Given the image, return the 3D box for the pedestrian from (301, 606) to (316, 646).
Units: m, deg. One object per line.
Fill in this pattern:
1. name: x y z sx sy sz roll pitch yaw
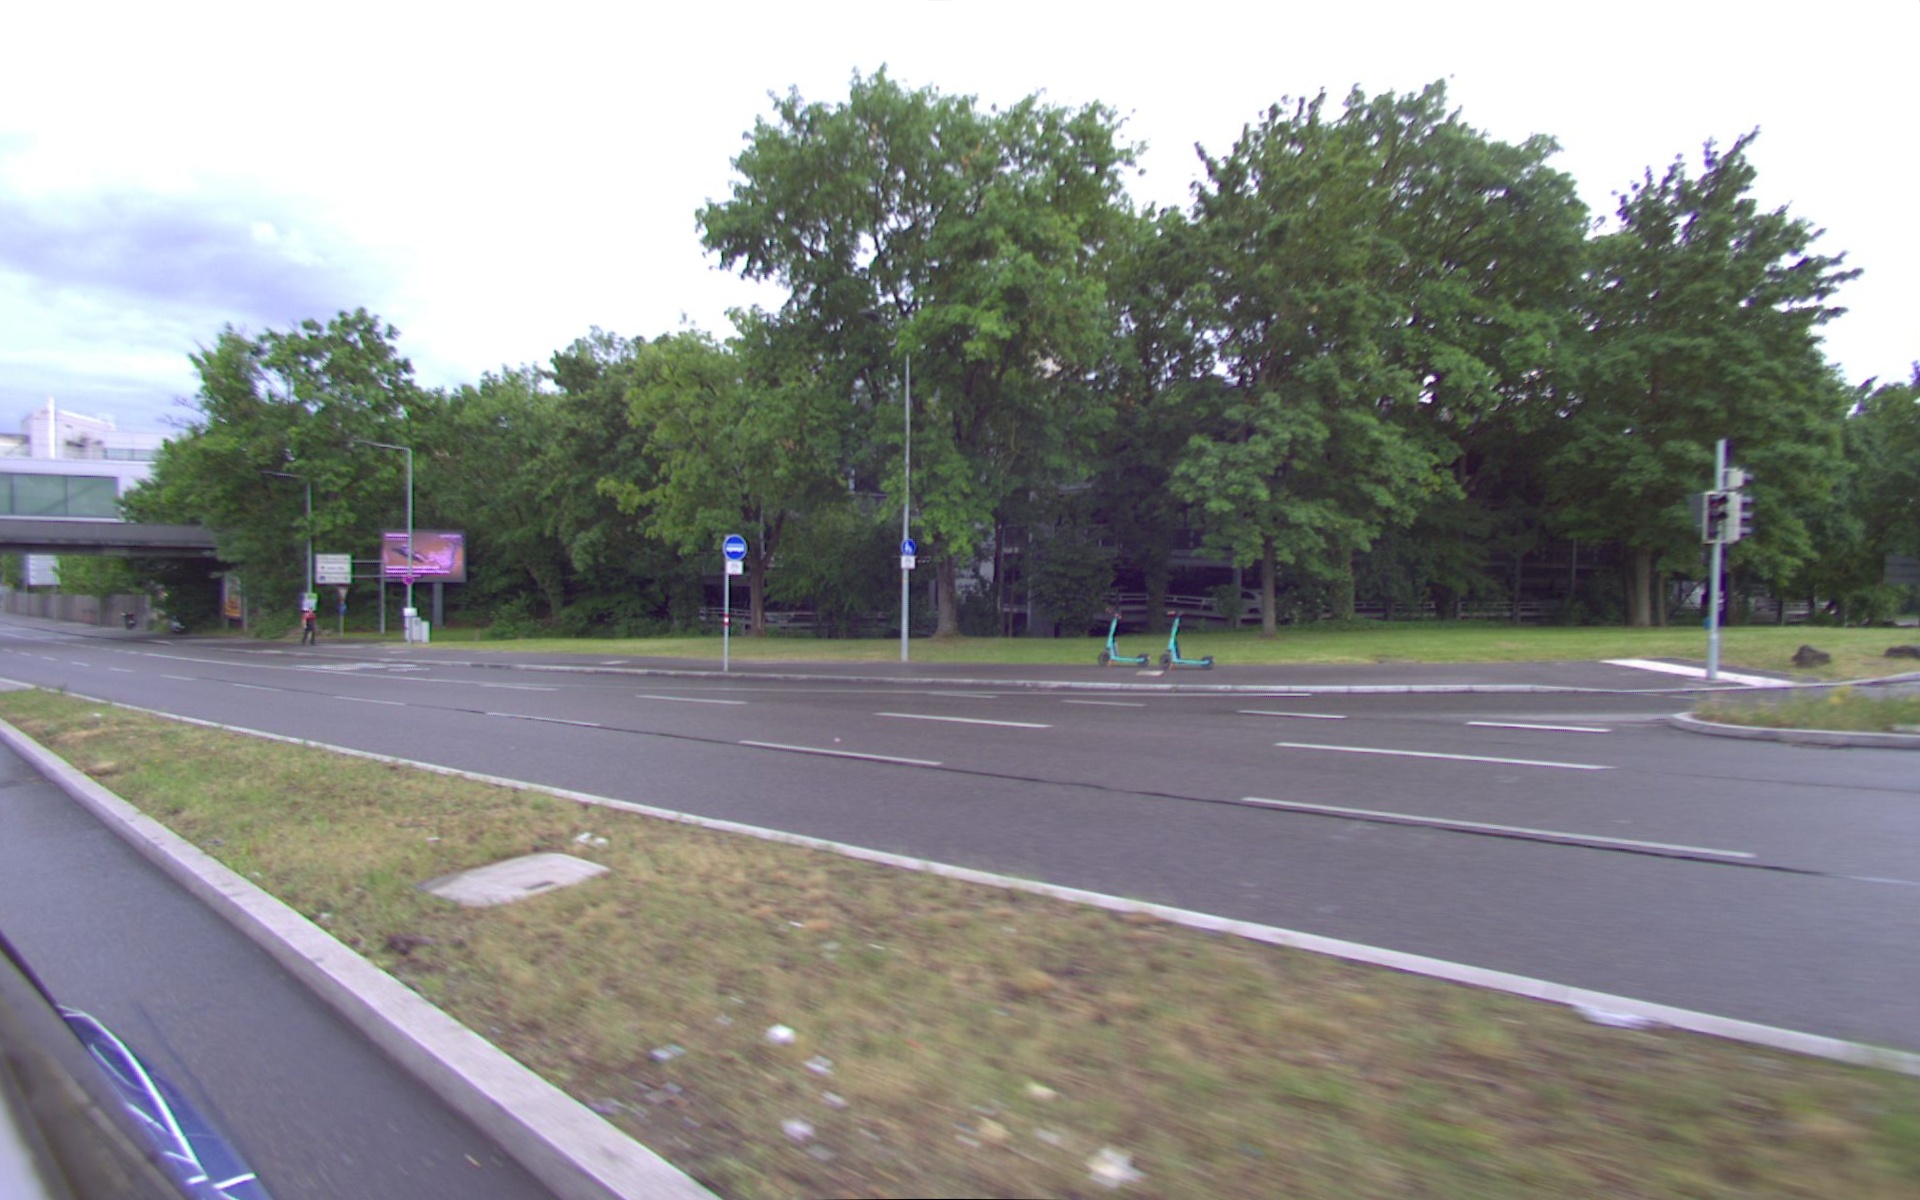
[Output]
1. pedestrian: -30.481 1.225 47.344 0.513 1.829 0.801 -1 1 -38

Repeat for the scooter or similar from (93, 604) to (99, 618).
1. scooter or similar: -76.030 0.983 89.036 0.307 1.227 1.311 0 0 -36

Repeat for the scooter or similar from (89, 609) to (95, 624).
1. scooter or similar: -74.707 1.395 87.090 0.307 1.227 1.309 0 0 -43

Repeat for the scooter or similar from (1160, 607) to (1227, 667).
1. scooter or similar: 4.837 0.764 20.998 1.302 1.227 0.309 -1 0 28

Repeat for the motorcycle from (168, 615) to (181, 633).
1. motorcycle: -51.017 1.543 65.739 0.463 1.167 1.933 0 0 -45

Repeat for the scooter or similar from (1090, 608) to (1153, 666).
1. scooter or similar: 3.512 0.799 22.054 1.301 1.227 0.309 -1 0 28

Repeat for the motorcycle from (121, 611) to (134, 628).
1. motorcycle: -62.702 1.450 76.184 1.996 1.214 0.463 0 0 42
